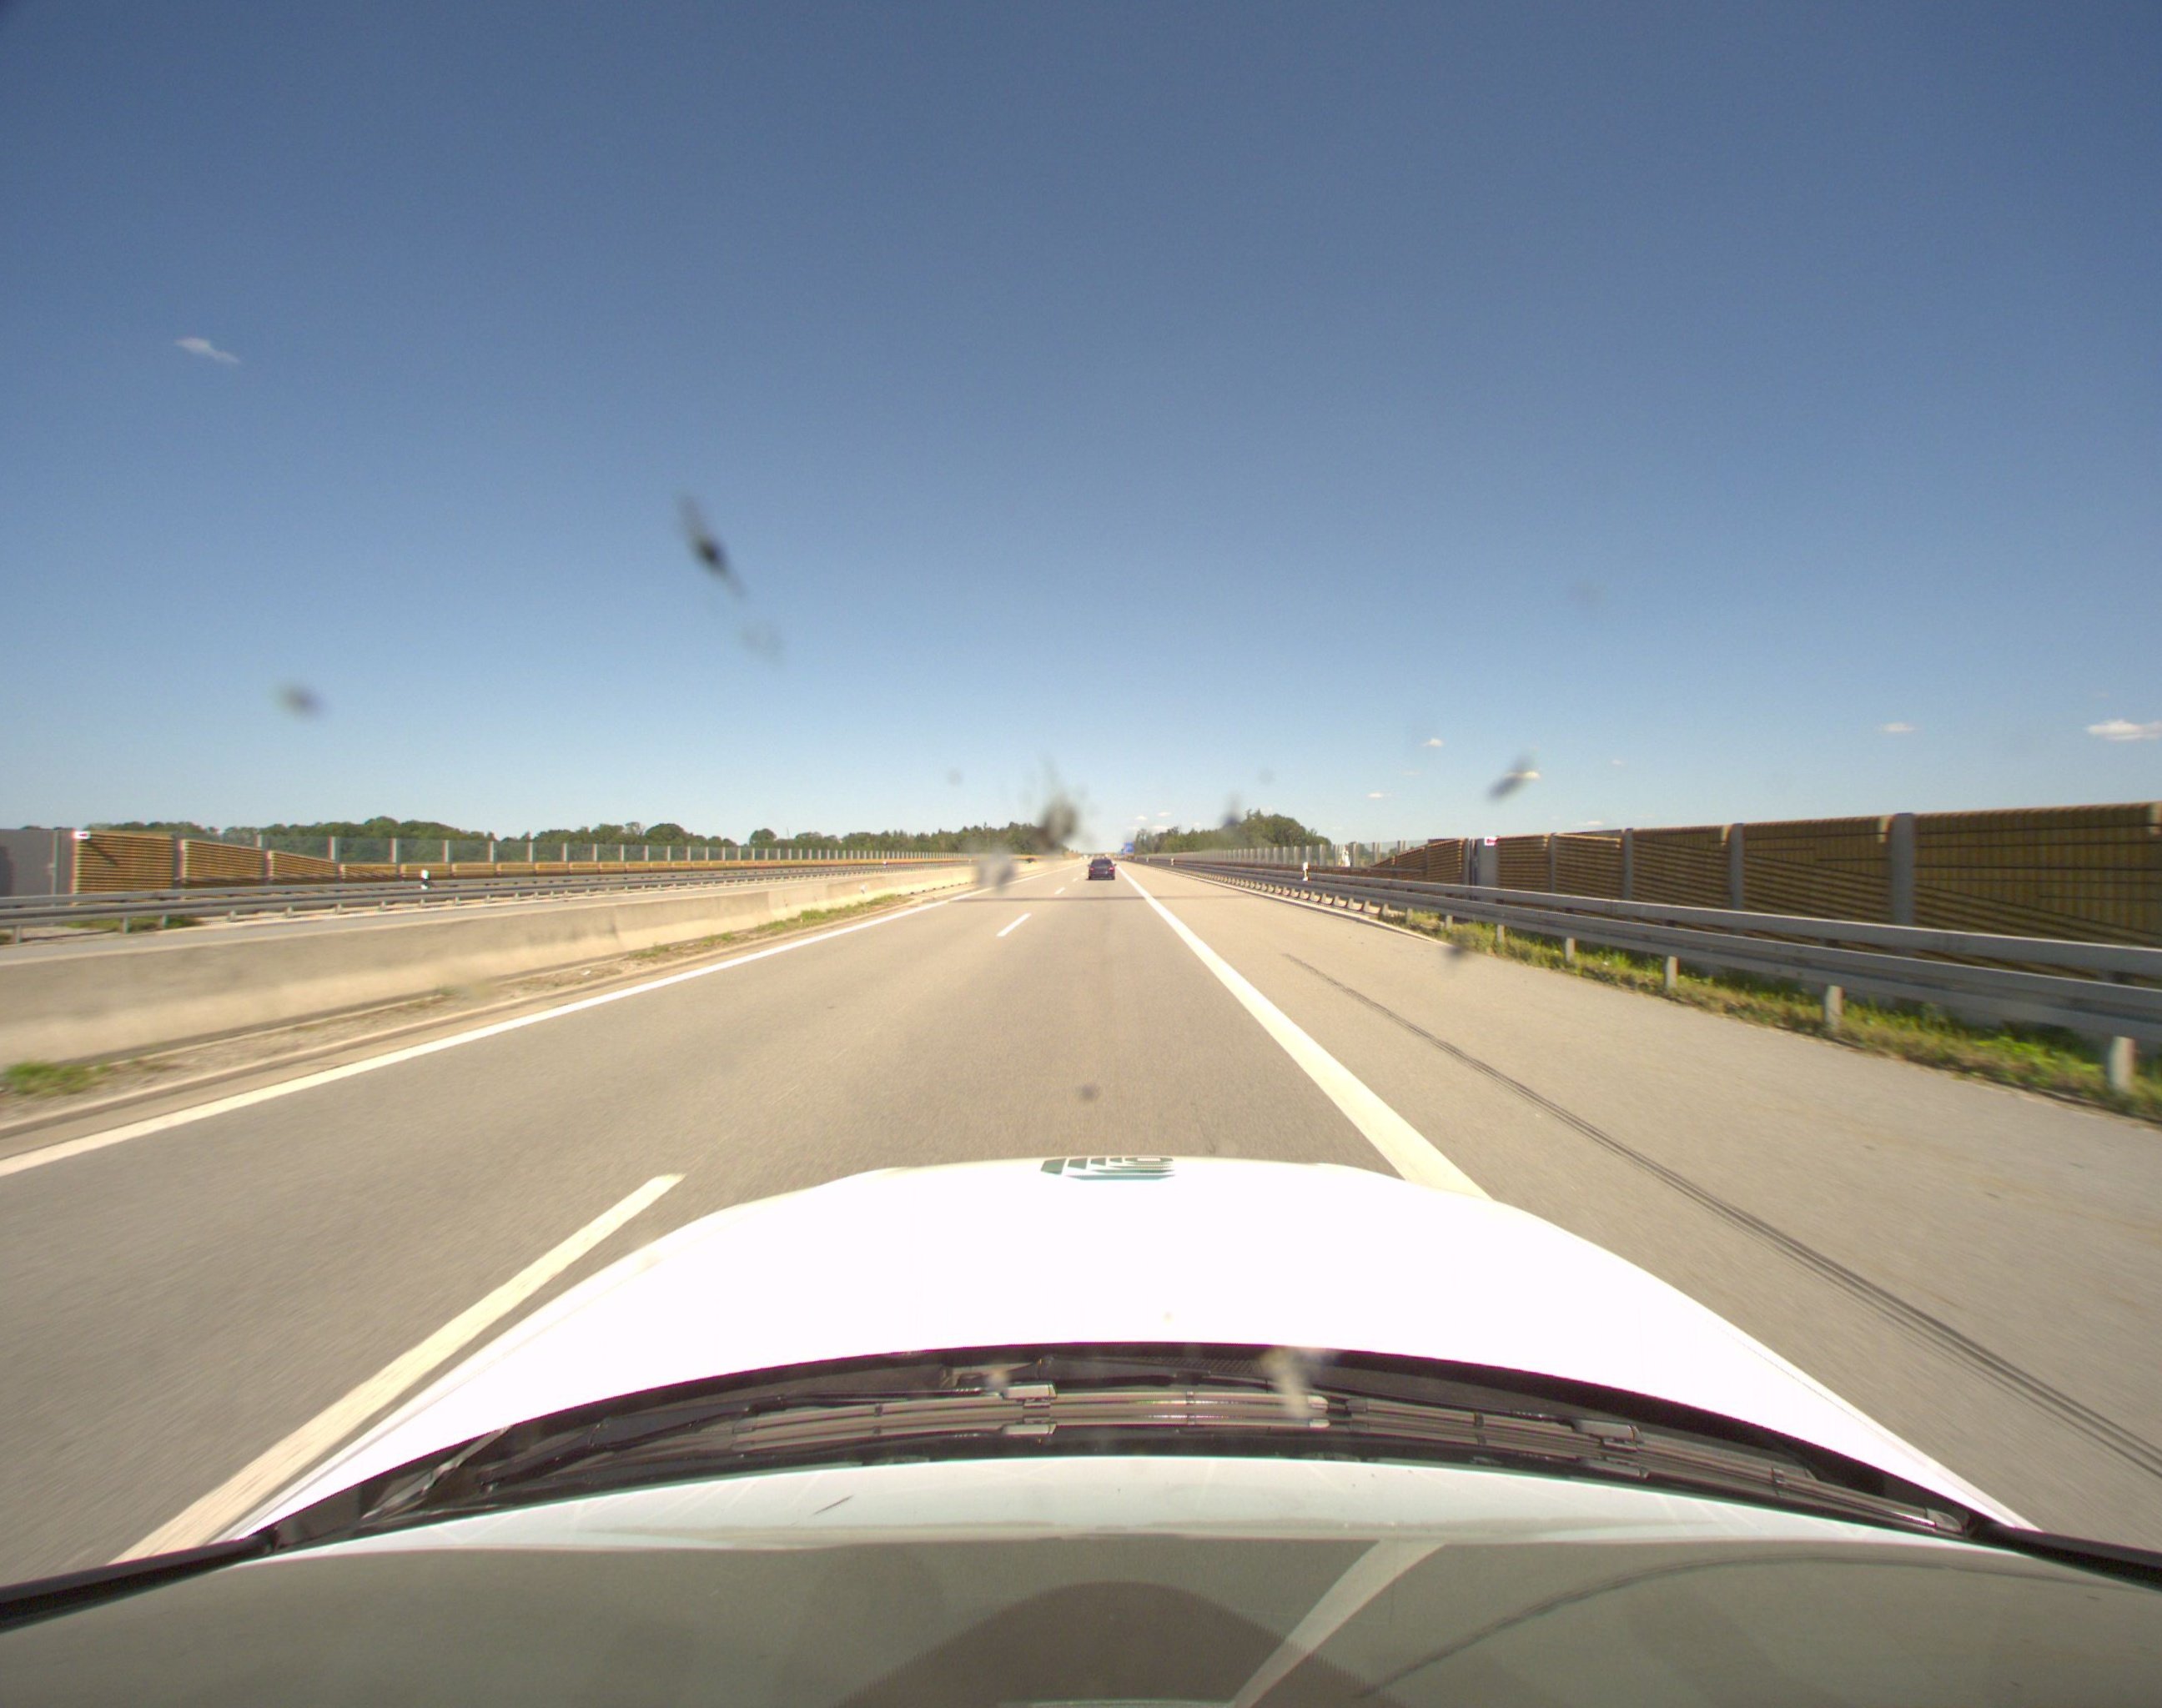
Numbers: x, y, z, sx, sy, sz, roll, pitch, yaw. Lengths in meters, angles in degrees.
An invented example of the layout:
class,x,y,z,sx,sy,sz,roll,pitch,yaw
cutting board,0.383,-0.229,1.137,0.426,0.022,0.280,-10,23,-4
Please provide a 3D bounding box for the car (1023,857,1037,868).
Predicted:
class,x,y,z,sx,sy,sz,roll,pitch,yaw
car,-9.460,1.592,150.272,1.985,2.014,4.764,-1,-1,3

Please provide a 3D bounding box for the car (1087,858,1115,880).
class,x,y,z,sx,sy,sz,roll,pitch,yaw
car,1.352,0.948,53.631,1.783,1.374,3.919,0,0,2
